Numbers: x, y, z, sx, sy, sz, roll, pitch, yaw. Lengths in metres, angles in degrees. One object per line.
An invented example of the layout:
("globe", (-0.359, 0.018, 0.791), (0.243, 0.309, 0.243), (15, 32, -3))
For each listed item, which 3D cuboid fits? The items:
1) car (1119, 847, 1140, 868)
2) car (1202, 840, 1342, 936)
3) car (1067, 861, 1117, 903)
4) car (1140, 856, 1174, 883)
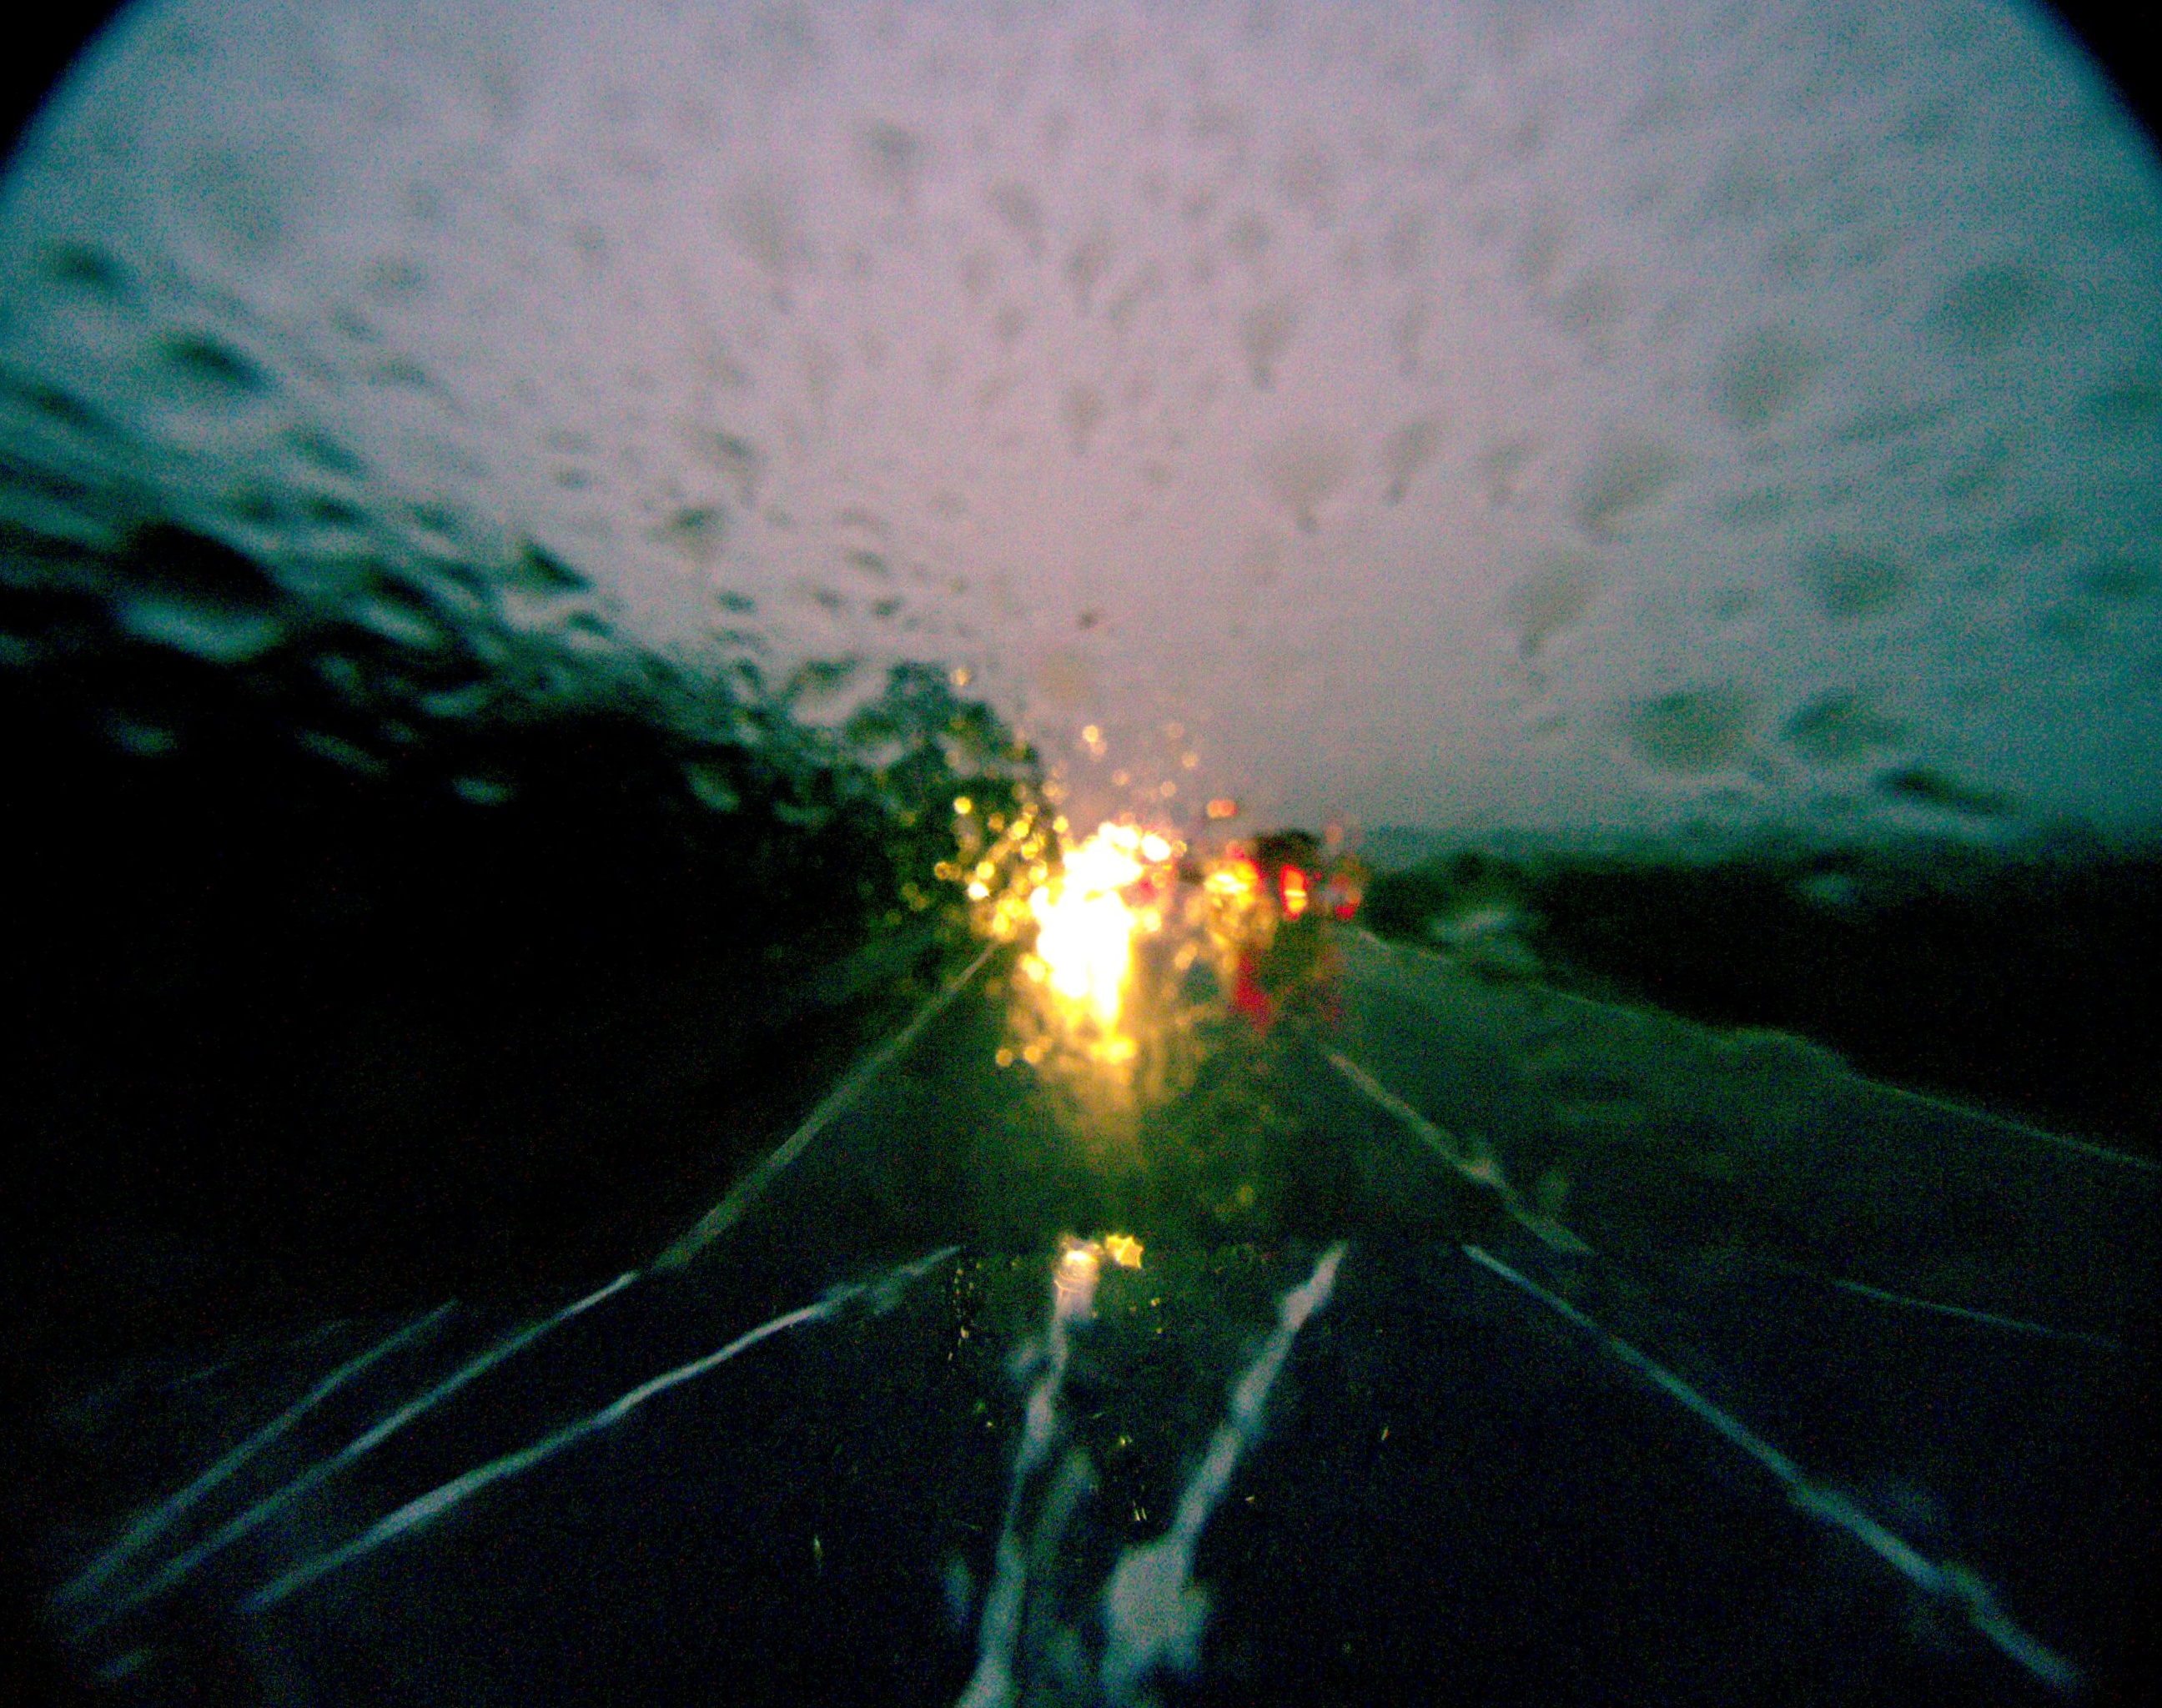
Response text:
("car", (4.714, 0.336, 74.719), (1.871, 2.041, 4.293), (0, 1, 1))
("car", (4.164, 0.662, 17.469), (1.998, 1.860, 4.952), (1, 0, 1))
("car", (0.405, 1.086, 31.046), (1.844, 1.484, 3.955), (-2, 1, 0))
("car", (4.426, 0.875, 44.655), (1.630, 1.464, 3.512), (1, 1, 1))
